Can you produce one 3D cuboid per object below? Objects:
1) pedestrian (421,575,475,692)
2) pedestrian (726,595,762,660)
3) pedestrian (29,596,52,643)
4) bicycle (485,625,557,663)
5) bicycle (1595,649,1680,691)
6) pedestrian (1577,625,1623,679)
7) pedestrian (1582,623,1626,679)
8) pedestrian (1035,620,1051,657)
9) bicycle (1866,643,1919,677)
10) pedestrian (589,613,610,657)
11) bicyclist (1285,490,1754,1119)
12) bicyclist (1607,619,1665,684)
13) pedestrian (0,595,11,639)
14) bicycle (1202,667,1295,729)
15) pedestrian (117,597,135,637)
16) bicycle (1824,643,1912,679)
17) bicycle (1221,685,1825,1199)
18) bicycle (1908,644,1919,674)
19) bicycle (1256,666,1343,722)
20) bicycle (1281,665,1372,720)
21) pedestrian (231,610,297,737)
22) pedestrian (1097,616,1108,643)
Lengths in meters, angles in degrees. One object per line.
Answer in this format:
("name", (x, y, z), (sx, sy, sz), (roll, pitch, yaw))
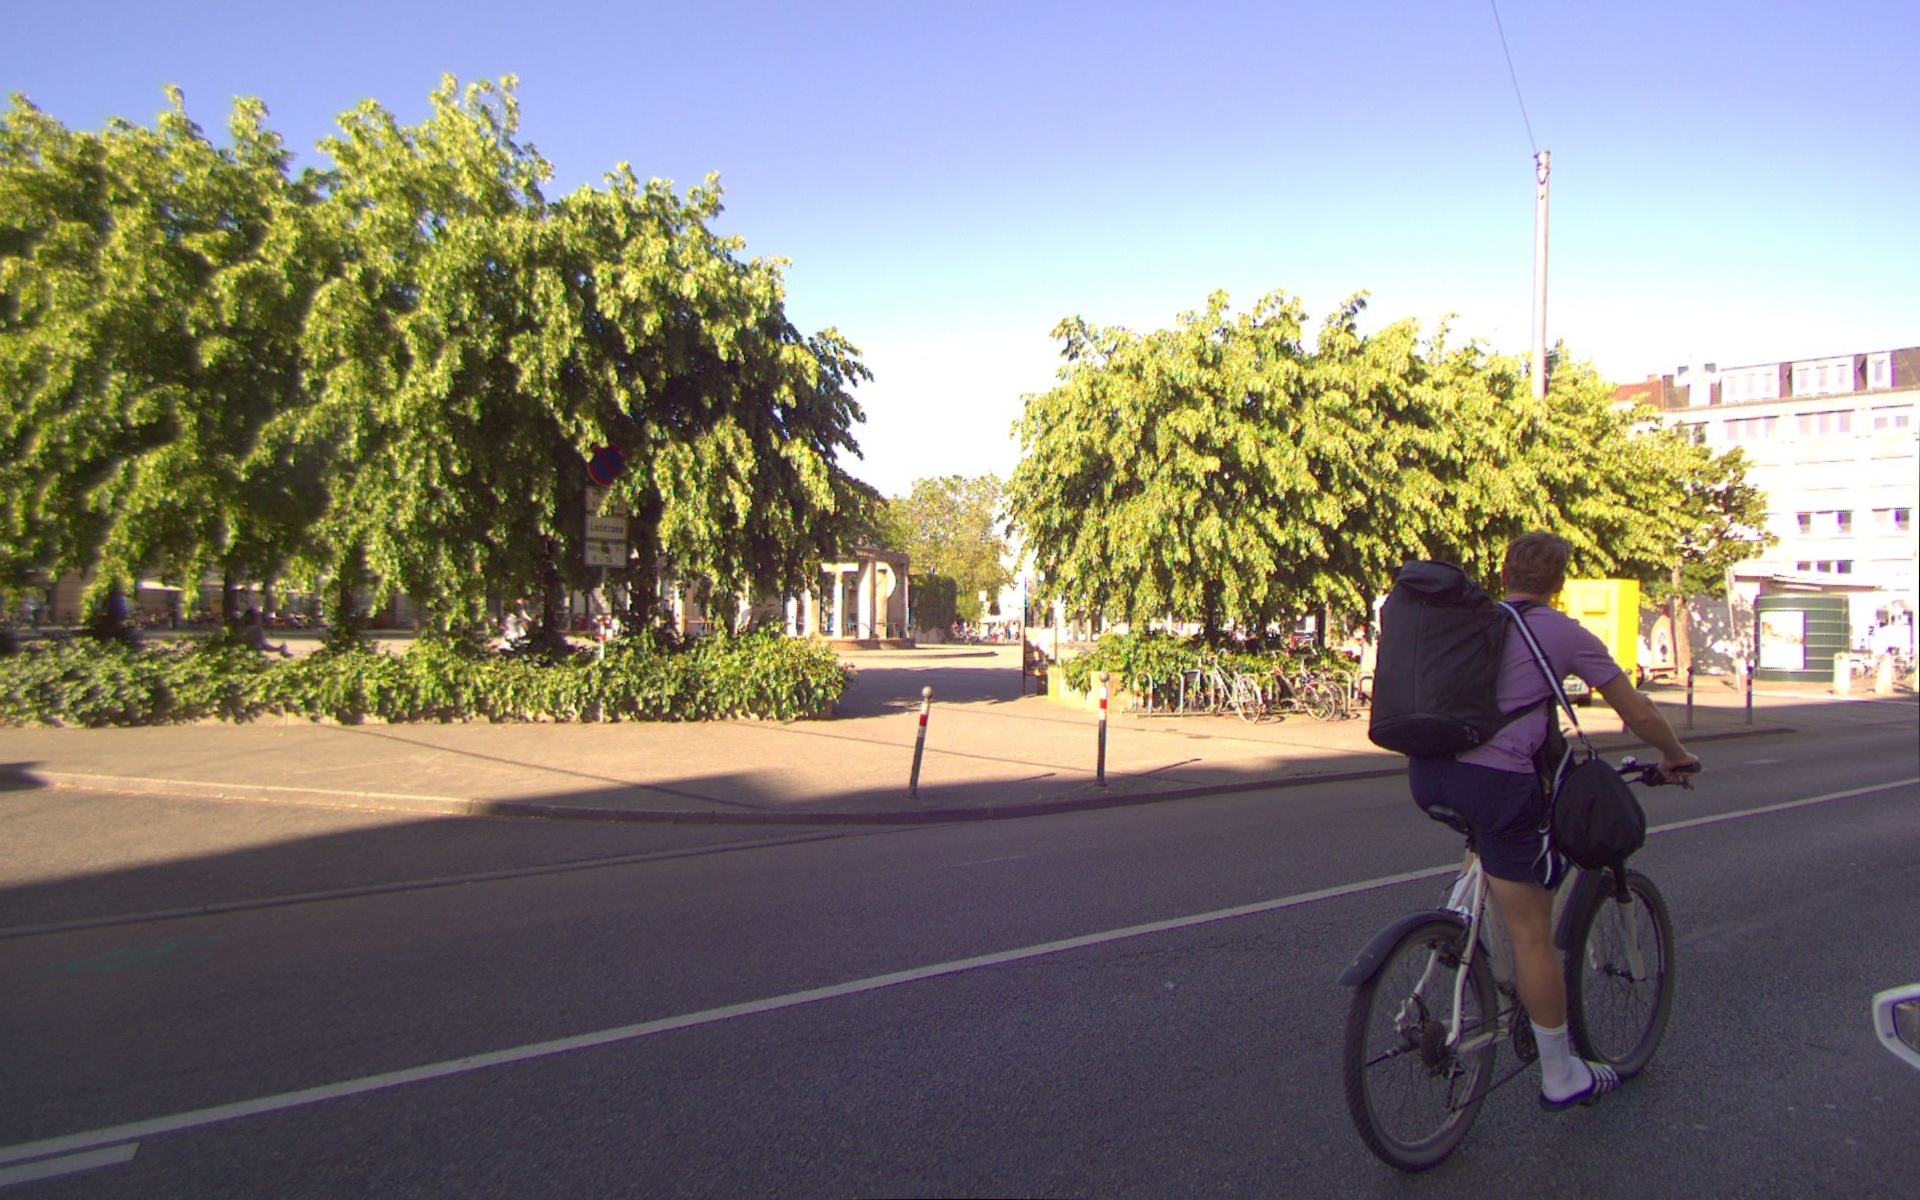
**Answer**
("pedestrian", (-8.462, 0.538, 16.605), (0.574, 1.881, 0.598), (1, 0, 41))
("pedestrian", (-6.027, 0.771, 28.010), (0.918, 1.775, 0.728), (2, 0, -15))
("pedestrian", (-36.123, 0.761, 39.476), (0.597, 1.816, 0.576), (2, 0, -40))
("bicycle", (-12.631, 1.252, 28.897), (2.018, 1.030, 0.504), (1, 0, 16))
("bicycle", (17.843, 1.827, 26.502), (0.619, 0.958, 1.862), (1, 0, -18))
("pedestrian", (20.425, 1.648, 32.055), (0.727, 1.658, 0.983), (1, 0, -26))
("pedestrian", (20.423, 1.604, 31.854), (0.734, 1.748, 0.898), (1, 0, -26))
("pedestrian", (4.664, 2.159, 56.544), (0.670, 2.040, 0.579), (2, 0, -23))
("bicycle", (33.168, 2.116, 35.137), (0.796, 1.119, 2.072), (1, -1, -30))
("pedestrian", (-14.612, 1.402, 40.742), (0.579, 1.744, 0.593), (2, 0, -44))
("bicyclist", (1.609, 0.484, 2.924), (0.996, 1.454, 0.792), (1, -1, -30))
("bicyclist", (17.849, 1.346, 26.534), (0.619, 1.676, 1.119), (1, -1, -19))
("pedestrian", (-39.990, 0.712, 41.866), (0.579, 1.816, 0.593), (2, 0, -44))
("bicycle", (4.346, 1.458, 15.244), (0.467, 0.779, 1.653), (2, 0, -20))
("pedestrian", (-38.329, 0.800, 46.160), (0.597, 1.816, 0.575), (2, 0, -44))
("bicycle", (30.863, 2.069, 34.163), (0.796, 1.119, 2.072), (1, -1, -30))
("bicycle", (1.709, 0.926, 2.993), (1.753, 1.249, 0.792), (1, -1, -30))
("bicycle", (37.130, 2.251, 37.716), (0.796, 1.119, 2.072), (1, -1, -30))
("bicycle", (5.453, 1.498, 16.206), (0.435, 0.779, 1.469), (2, 0, -25))
("bicycle", (5.963, 1.493, 16.423), (0.468, 0.779, 1.468), (2, 0, -27))
("pedestrian", (-10.586, 1.102, 15.298), (0.722, 1.881, 0.578), (2, 0, -28))
("pedestrian", (10.061, 2.086, 71.087), (0.591, 1.816, 0.581), (1, 0, -12))
